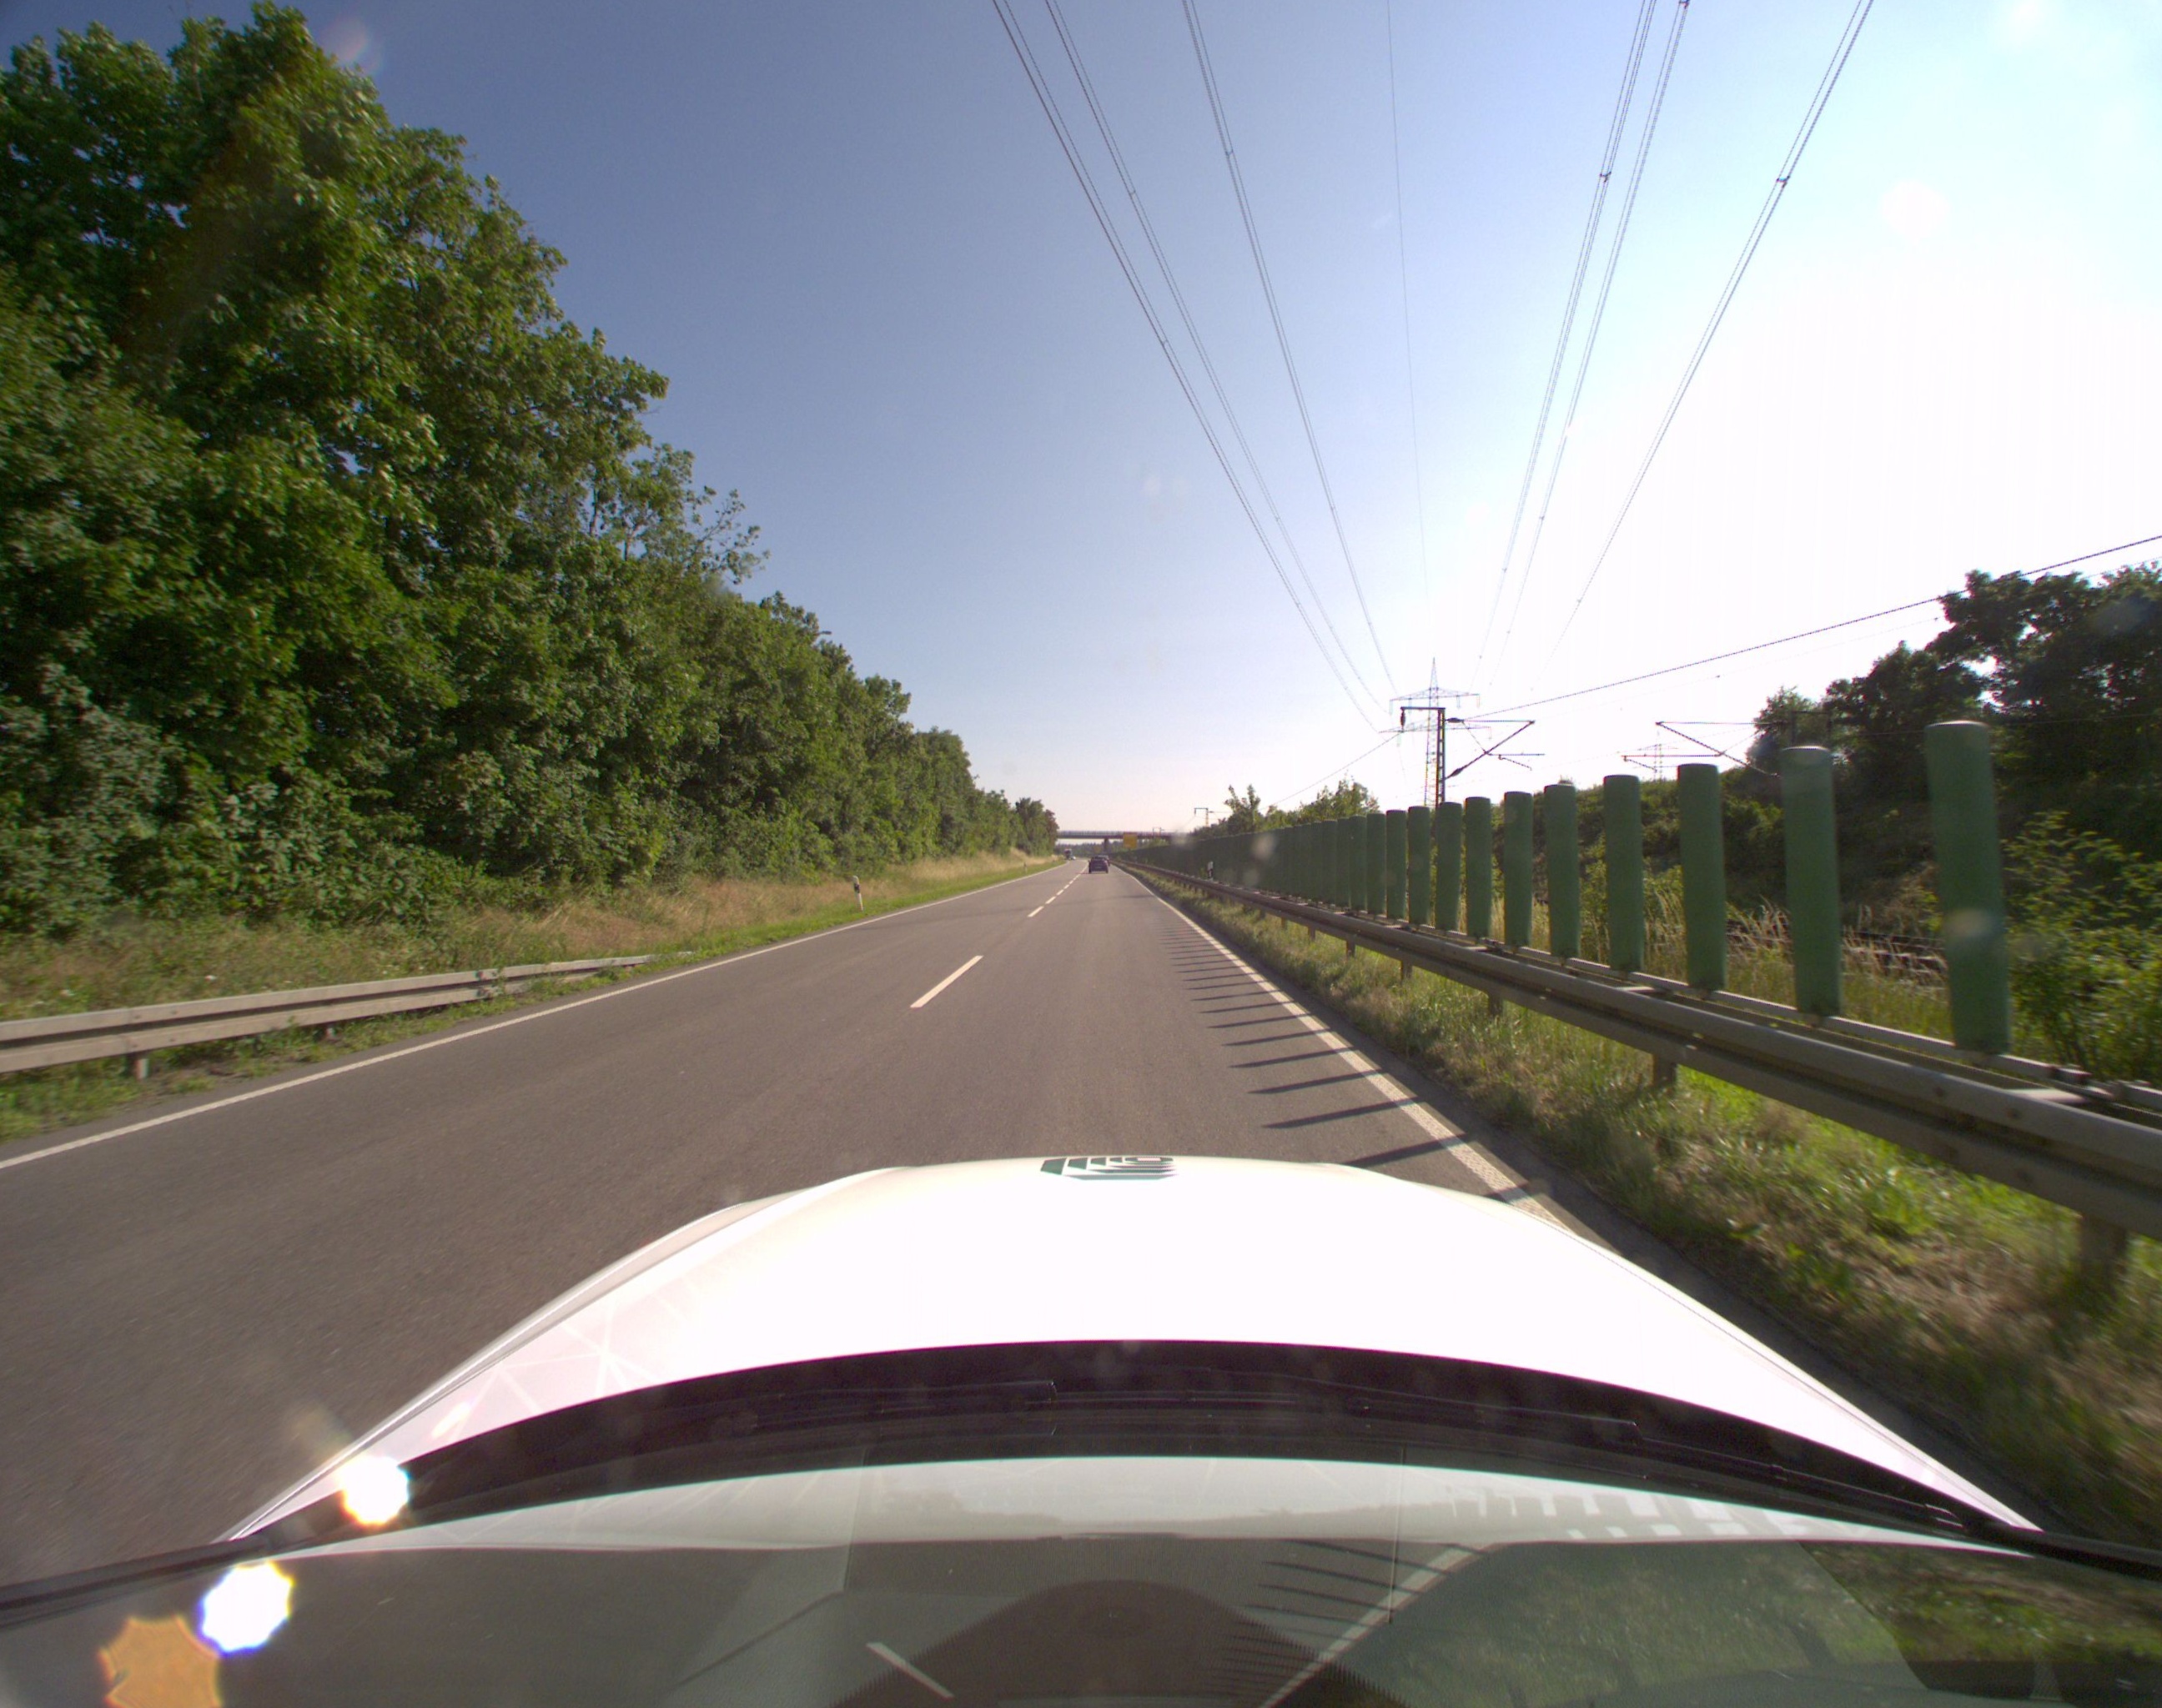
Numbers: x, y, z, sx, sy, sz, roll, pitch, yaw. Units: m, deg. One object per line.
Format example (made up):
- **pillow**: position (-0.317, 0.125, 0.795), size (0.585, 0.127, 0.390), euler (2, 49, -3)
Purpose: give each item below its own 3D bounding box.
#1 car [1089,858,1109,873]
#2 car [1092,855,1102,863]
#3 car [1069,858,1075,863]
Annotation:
- **car**: position (1.501, 0.985, 69.092), size (1.658, 1.261, 3.999), euler (0, -1, 0)
- **car**: position (3.160, 1.018, 160.360), size (1.889, 1.418, 3.999), euler (0, -1, 0)
- **car**: position (-2.557, 1.951, 237.775), size (1.790, 1.593, 3.999), euler (0, -1, 0)
